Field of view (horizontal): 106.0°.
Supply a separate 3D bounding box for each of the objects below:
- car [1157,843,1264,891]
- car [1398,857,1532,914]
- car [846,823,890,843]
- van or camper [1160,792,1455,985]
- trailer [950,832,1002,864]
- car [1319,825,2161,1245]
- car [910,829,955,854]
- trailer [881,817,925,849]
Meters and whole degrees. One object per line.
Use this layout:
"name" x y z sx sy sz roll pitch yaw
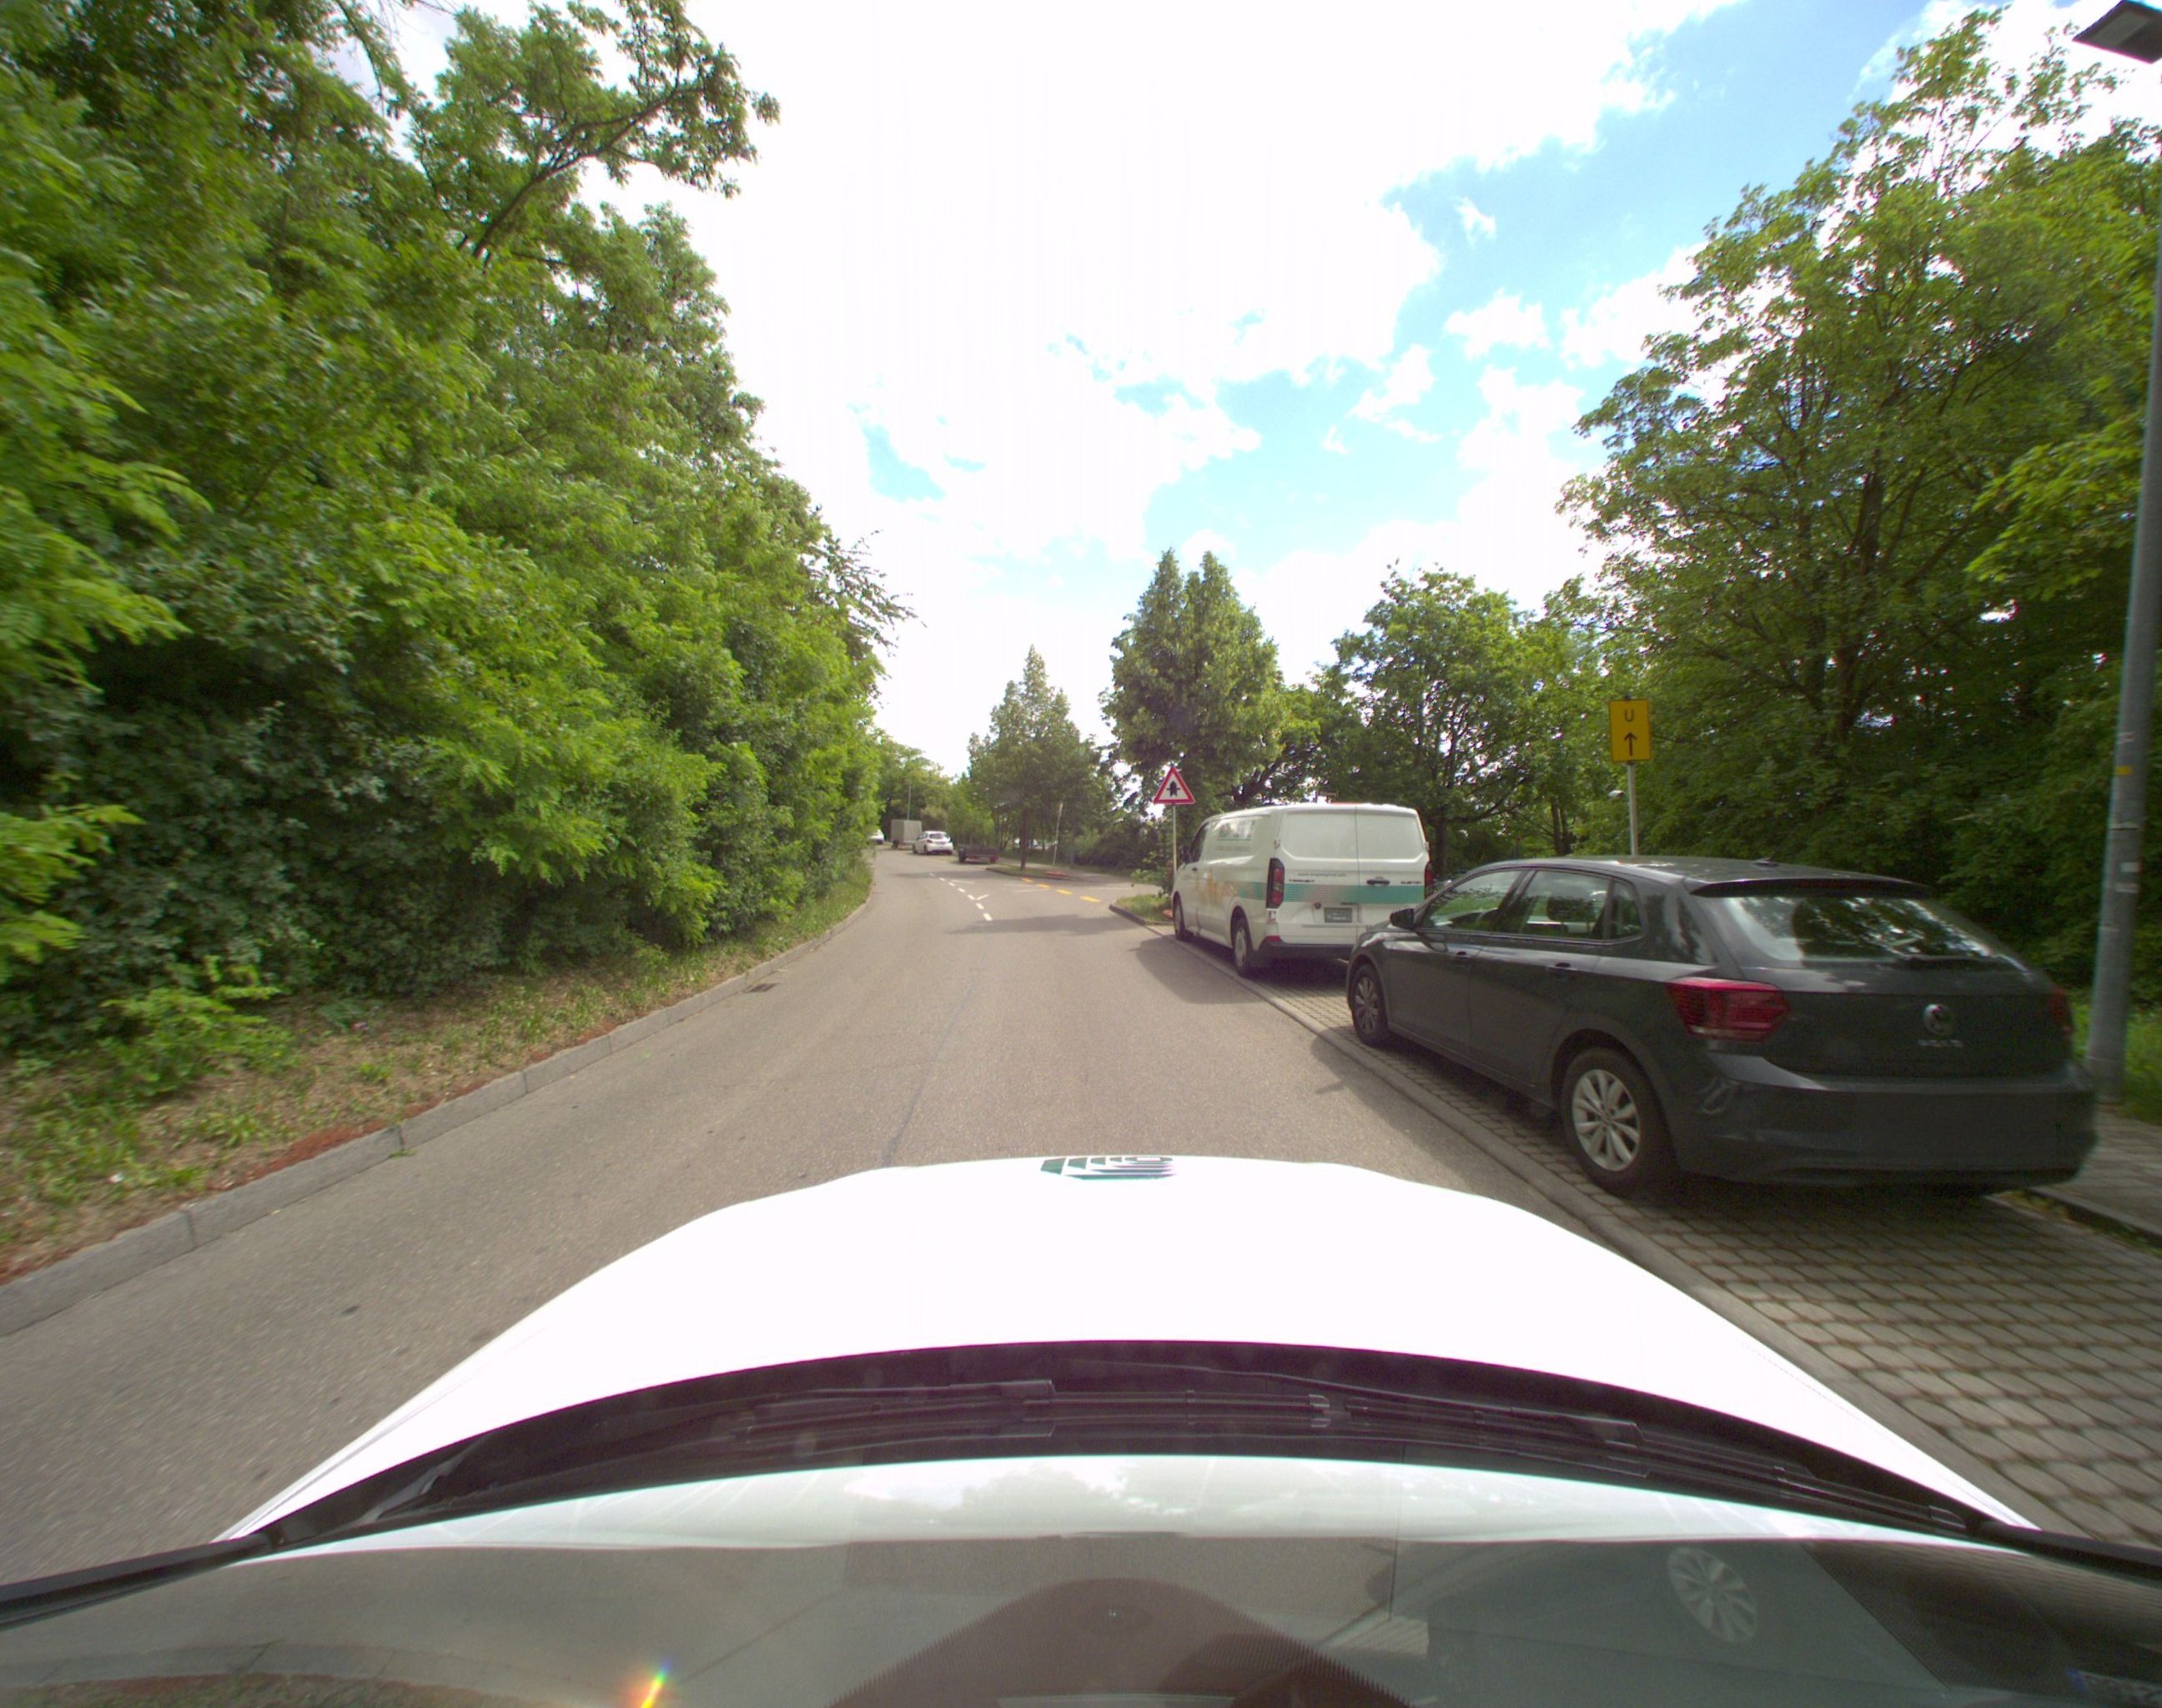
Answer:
"car" 4.669 0.446 29.770 3.528 1.480 1.780 3 2 -3
"car" 14.378 1.165 30.624 3.981 1.595 1.997 7 1 -6
"car" -16.830 -1.671 64.332 1.901 1.375 4.305 0 3 -36
"van or camper" 2.560 0.323 10.822 1.991 1.920 5.255 1 1 -6
"trailer" -5.627 -0.345 43.236 1.791 1.525 3.972 0 3 -22
"car" 2.998 0.662 4.918 1.793 1.464 3.996 2 0 -2
"car" -9.469 -0.802 51.646 1.778 1.411 3.967 0 3 -26
"trailer" -12.538 -1.494 57.250 1.752 2.110 3.961 -1 3 -32
